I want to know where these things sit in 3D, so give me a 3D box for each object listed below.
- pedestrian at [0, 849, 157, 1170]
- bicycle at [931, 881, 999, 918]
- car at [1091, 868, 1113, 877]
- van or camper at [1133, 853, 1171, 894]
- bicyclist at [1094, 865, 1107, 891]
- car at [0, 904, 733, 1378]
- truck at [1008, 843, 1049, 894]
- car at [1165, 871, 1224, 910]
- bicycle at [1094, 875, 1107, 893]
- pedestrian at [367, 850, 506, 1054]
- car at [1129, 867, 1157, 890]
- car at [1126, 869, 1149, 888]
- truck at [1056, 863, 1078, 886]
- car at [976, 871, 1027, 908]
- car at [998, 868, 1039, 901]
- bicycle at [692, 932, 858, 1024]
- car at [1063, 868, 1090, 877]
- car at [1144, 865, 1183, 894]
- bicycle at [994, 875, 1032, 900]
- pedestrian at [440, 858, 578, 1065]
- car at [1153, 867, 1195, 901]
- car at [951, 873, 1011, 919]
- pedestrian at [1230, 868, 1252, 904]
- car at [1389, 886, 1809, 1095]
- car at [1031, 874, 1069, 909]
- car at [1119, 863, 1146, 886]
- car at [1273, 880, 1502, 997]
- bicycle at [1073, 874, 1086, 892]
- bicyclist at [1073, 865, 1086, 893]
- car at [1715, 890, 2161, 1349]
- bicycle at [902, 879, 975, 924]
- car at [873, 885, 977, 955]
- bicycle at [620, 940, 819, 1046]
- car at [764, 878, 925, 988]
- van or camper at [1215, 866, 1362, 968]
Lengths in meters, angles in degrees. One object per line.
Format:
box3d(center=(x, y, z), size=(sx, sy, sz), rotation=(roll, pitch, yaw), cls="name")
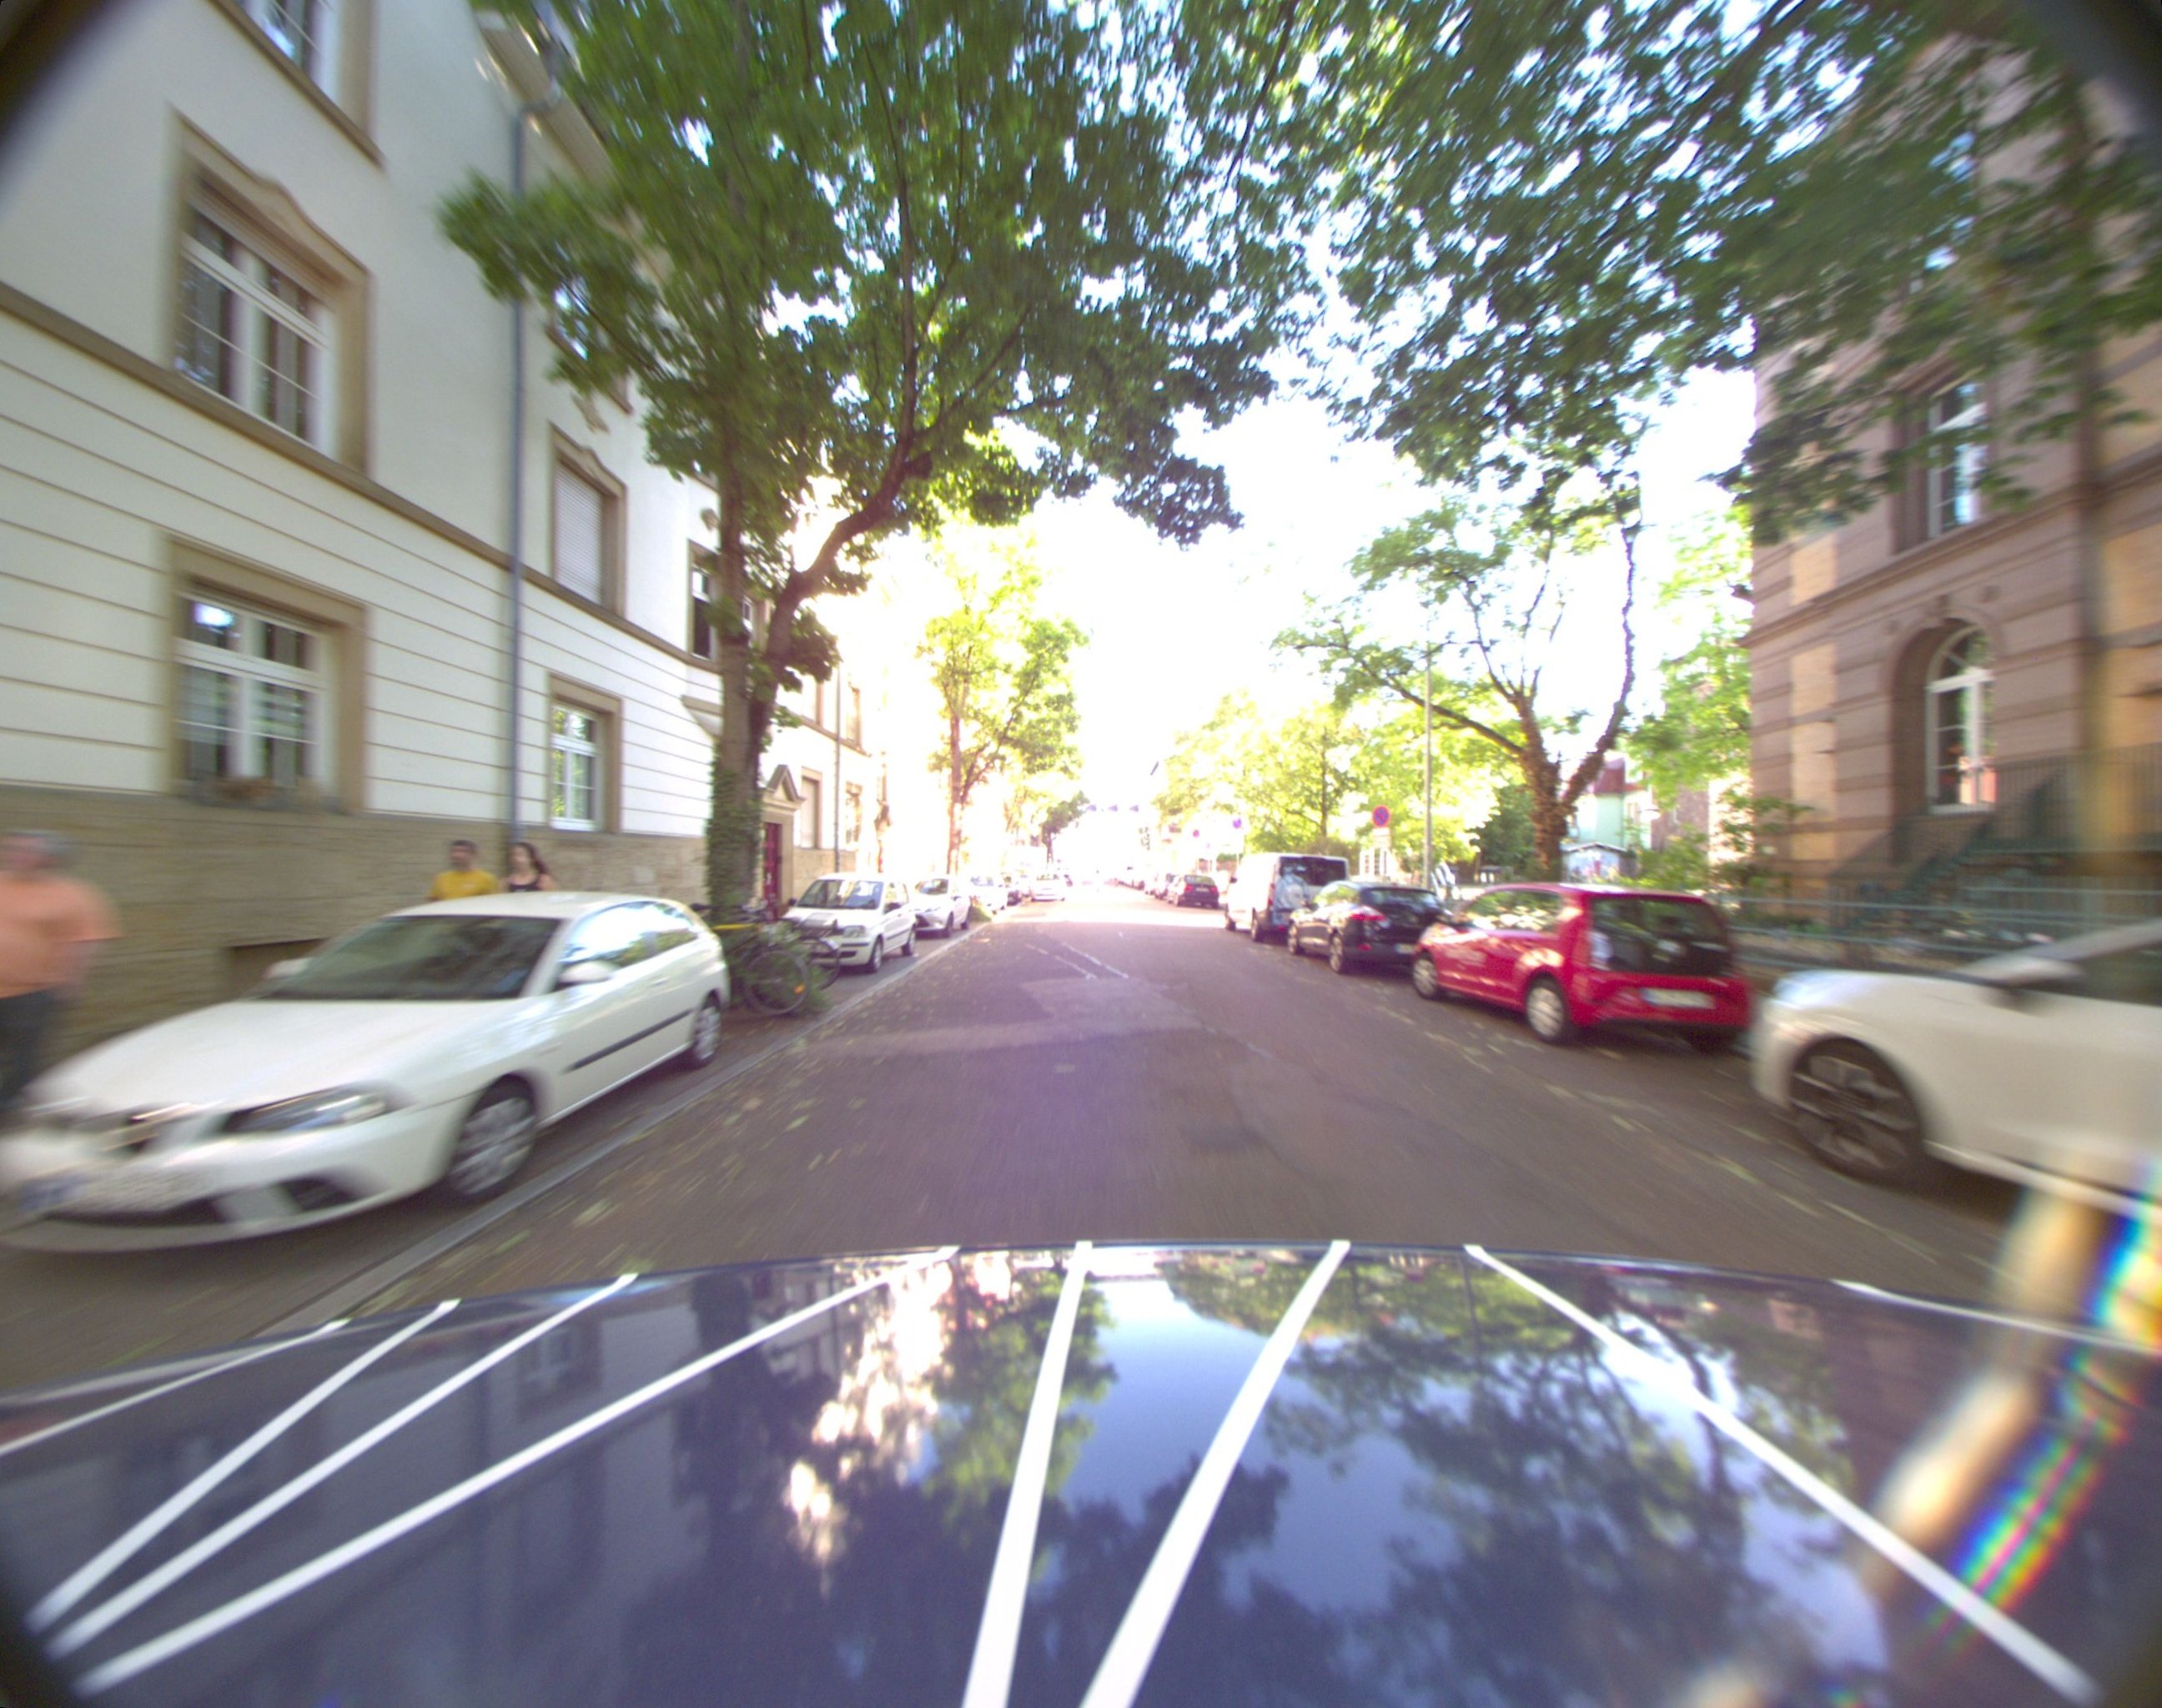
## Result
box3d(center=(-6.115, 0.825, 4.243), size=(0.780, 1.684, 0.874), rotation=(2, 0, -2), cls="pedestrian")
box3d(center=(-3.653, 1.432, 24.005), size=(1.974, 1.066, 0.599), rotation=(2, 0, 1), cls="bicycle")
box3d(center=(3.736, 3.300, 134.308), size=(3.613, 1.440, 1.553), rotation=(1, 0, -8), cls="car")
box3d(center=(5.194, 1.439, 56.299), size=(2.134, 2.752, 5.852), rotation=(3, -1, 0), cls="van or camper")
box3d(center=(1.163, 1.479, 46.507), size=(0.757, 1.556, 0.981), rotation=(-1, -1, 1), cls="bicyclist")
box3d(center=(-3.719, 1.141, 4.615), size=(1.615, 1.469, 3.869), rotation=(1, -1, -4), cls="car")
box3d(center=(-3.296, 0.945, 48.663), size=(2.079, 2.951, 6.109), rotation=(3, -1, 0), cls="truck")
box3d(center=(4.815, 1.515, 32.945), size=(1.718, 1.387, 4.780), rotation=(4, -1, 0), cls="car")
box3d(center=(1.162, 1.813, 46.556), size=(0.741, 1.053, 1.858), rotation=(-1, 0, 0), cls="bicycle")
box3d(center=(-5.672, 0.827, 6.720), size=(0.597, 1.691, 0.689), rotation=(1, 0, 2), cls="pedestrian")
box3d(center=(5.018, 1.974, 62.066), size=(1.880, 1.675, 4.970), rotation=(3, -1, 0), cls="car")
box3d(center=(4.967, 2.162, 67.137), size=(1.639, 1.542, 4.089), rotation=(2, 0, 0), cls="car")
box3d(center=(-1.239, 1.822, 68.807), size=(1.833, 1.937, 5.542), rotation=(0, -1, 1), cls="truck")
box3d(center=(-3.472, 1.547, 33.843), size=(1.791, 1.504, 4.460), rotation=(0, -1, 0), cls="car")
box3d(center=(-3.394, 1.647, 42.246), size=(1.890, 1.705, 4.944), rotation=(1, -1, -1), cls="car")
box3d(center=(-3.701, 1.488, 9.261), size=(1.774, 1.033, 0.606), rotation=(0, -1, 1), cls="bicycle")
box3d(center=(-0.810, 3.232, 133.745), size=(4.493, 1.498, 1.944), rotation=(1, -1, -6), cls="car")
box3d(center=(4.864, 1.477, 45.452), size=(1.785, 1.581, 4.469), rotation=(3, -1, 0), cls="car")
box3d(center=(-3.412, 1.676, 38.387), size=(1.815, 1.160, 0.569), rotation=(2, 0, 0), cls="bicycle")
box3d(center=(-5.086, 0.910, 6.813), size=(0.521, 1.724, 0.878), rotation=(1, 0, 2), cls="pedestrian")
box3d(center=(4.755, 1.502, 39.247), size=(1.680, 1.563, 4.152), rotation=(4, -1, 1), cls="car")
box3d(center=(-3.574, 1.473, 27.621), size=(1.600, 1.479, 3.749), rotation=(2, -1, 1), cls="car")
box3d(center=(7.141, 1.415, 33.972), size=(0.883, 1.568, 0.529), rotation=(0, 0, 1), cls="pedestrian")
box3d(center=(4.898, 1.159, 7.991), size=(1.606, 1.451, 4.028), rotation=(4, -1, 0), cls="car")
box3d(center=(-1.464, 1.791, 37.143), size=(1.683, 1.535, 3.800), rotation=(0, -1, 0), cls="car")
box3d(center=(5.236, 2.104, 77.943), size=(2.257, 2.155, 5.243), rotation=(3, -1, -1), cls="car")
box3d(center=(4.853, 1.255, 12.894), size=(2.006, 1.449, 4.607), rotation=(3, -1, 1), cls="car")
box3d(center=(-0.069, 1.755, 46.420), size=(0.707, 1.039, 1.858), rotation=(-3, 0, 2), cls="bicycle")
box3d(center=(-0.076, 1.499, 46.449), size=(0.716, 1.679, 0.981), rotation=(-2, 0, 1), cls="bicyclist")
box3d(center=(4.758, 1.028, 2.433), size=(1.830, 1.544, 4.133), rotation=(4, -1, -2), cls="car")
box3d(center=(-4.212, 1.395, 22.530), size=(1.974, 1.222, 0.760), rotation=(2, 0, 1), cls="bicycle")
box3d(center=(-3.707, 1.522, 18.721), size=(1.626, 1.386, 4.158), rotation=(1, -1, 1), cls="car")
box3d(center=(-3.779, 1.444, 8.040), size=(1.719, 0.944, 0.733), rotation=(2, -1, 1), cls="bicycle")
box3d(center=(-3.791, 1.205, 12.789), size=(1.524, 1.501, 3.544), rotation=(1, -1, 1), cls="car")
box3d(center=(4.769, 1.336, 18.413), size=(1.926, 1.968, 5.462), rotation=(4, -1, 0), cls="van or camper")
